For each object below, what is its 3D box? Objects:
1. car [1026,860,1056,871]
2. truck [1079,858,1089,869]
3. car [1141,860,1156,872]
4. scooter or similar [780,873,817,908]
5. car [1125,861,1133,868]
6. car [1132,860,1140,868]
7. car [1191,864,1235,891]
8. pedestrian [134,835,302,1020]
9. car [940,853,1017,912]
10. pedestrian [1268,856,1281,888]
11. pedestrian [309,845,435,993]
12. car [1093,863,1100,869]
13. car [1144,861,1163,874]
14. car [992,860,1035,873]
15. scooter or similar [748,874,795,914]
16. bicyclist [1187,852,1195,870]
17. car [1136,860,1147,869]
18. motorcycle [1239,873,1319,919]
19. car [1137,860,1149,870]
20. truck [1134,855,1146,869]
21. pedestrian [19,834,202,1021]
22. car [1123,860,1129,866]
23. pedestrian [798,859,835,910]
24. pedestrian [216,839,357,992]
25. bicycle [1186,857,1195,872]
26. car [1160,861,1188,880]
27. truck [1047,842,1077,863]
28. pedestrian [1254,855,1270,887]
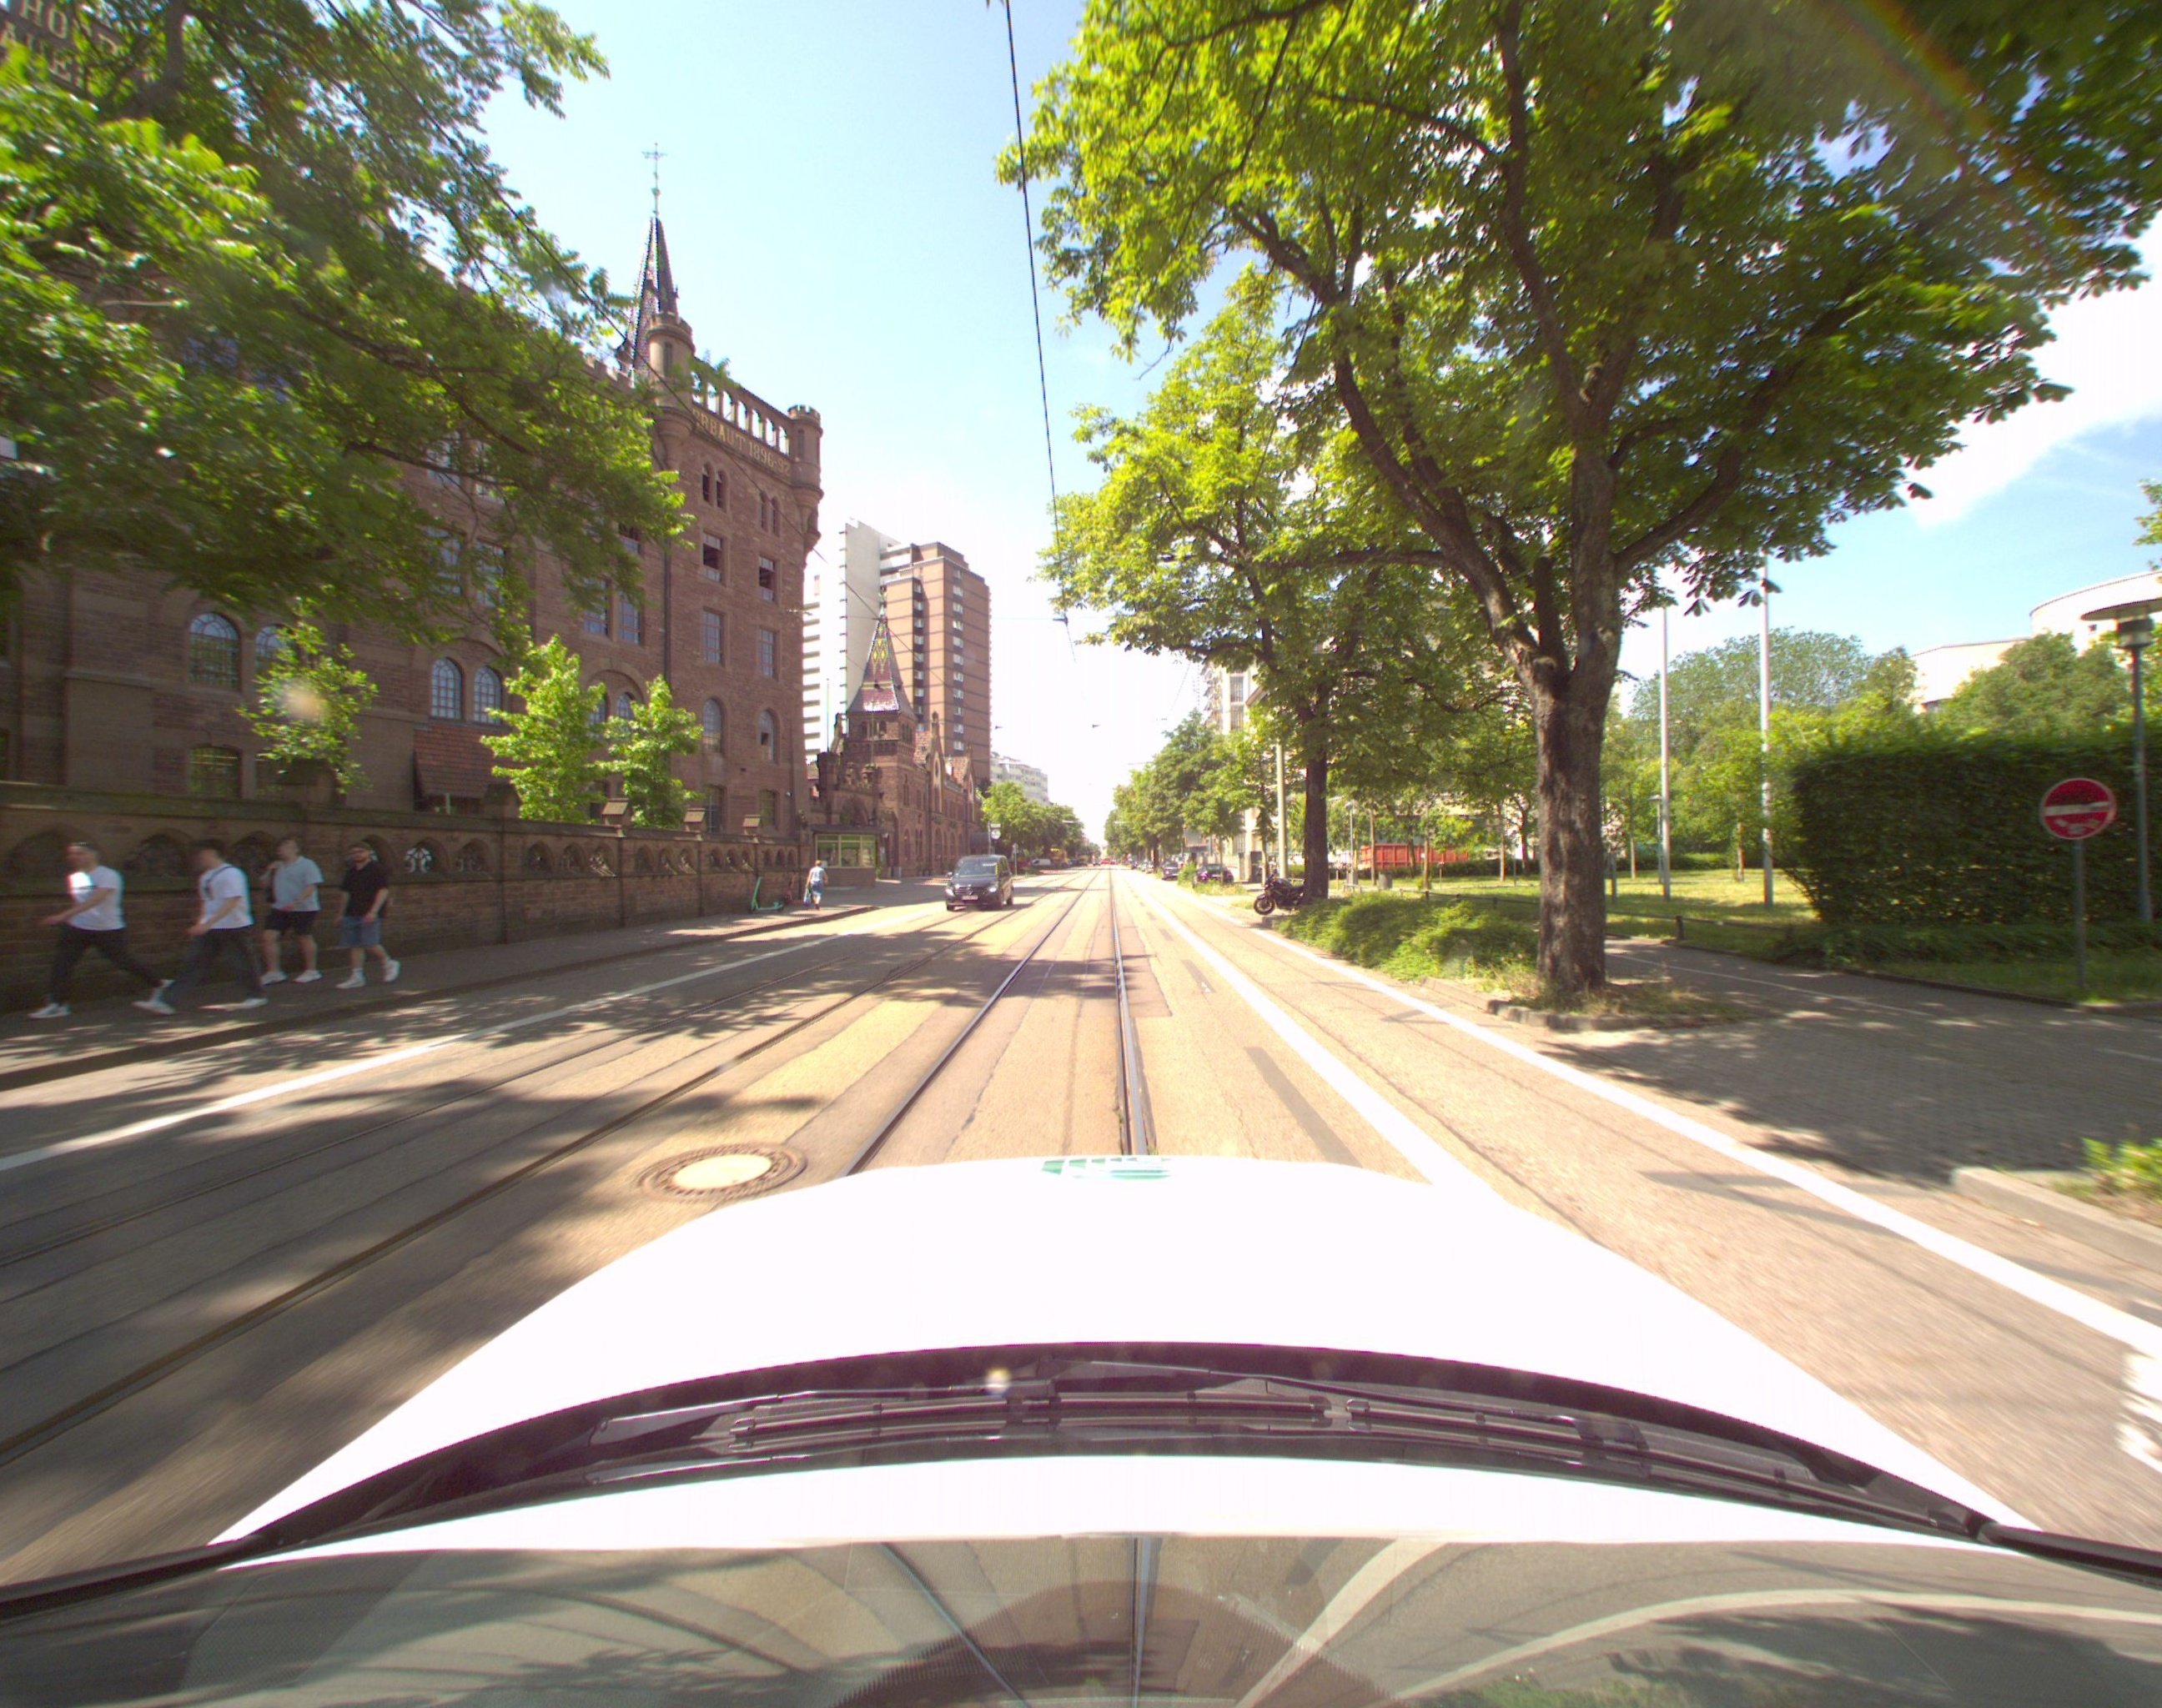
[{"bbox_3d":[-6.467,1.901,131.876,4.562,1.791,1.882,1,-1,-31],"label":"car"},{"bbox_3d":[0.816,2.462,215.825,2.350,2.852,7.385,-2,-1,4],"label":"truck"},{"bbox_3d":[8.838,1.513,106.494,1.665,1.517,4.202,-1,0,1],"label":"car"},{"bbox_3d":[-9.465,1.200,27.337,0.325,1.127,1.230,0,-1,30],"label":"scooter or similar"},{"bbox_3d":[11.919,2.593,201.364,1.634,1.485,3.871,-2,-1,-1],"label":"car"},{"bbox_3d":[11.260,2.115,167.446,1.637,1.534,3.789,-1,0,4],"label":"car"},{"bbox_3d":[6.645,1.149,41.280,1.744,1.270,3.835,0,0,2],"label":"car"},{"bbox_3d":[-8.936,0.725,8.475,0.674,1.790,0.920,2,-1,2],"label":"pedestrian"},{"bbox_3d":[-3.357,0.905,27.465,1.897,1.788,4.257,-1,0,2],"label":"car"},{"bbox_3d":[9.747,0.883,41.031,0.511,1.573,0.545,-2,-1,2],"label":"pedestrian"},{"bbox_3d":[-8.831,0.778,10.189,0.674,1.748,0.920,2,-1,2],"label":"pedestrian"},{"bbox_3d":[4.290,3.172,219.602,1.824,1.681,4.186,-1,-1,2],"label":"car"},{"bbox_3d":[8.290,1.524,93.757,1.666,1.499,4.363,-1,0,-1],"label":"car"},{"bbox_3d":[-8.236,1.525,99.438,4.790,1.566,1.984,0,-1,-27],"label":"car"},{"bbox_3d":[-9.061,1.166,23.870,1.232,1.127,0.344,3,-2,-45],"label":"scooter or similar"},{"bbox_3d":[10.025,0.620,74.392,0.578,1.648,0.599,-3,-1,2],"label":"bicyclist"},{"bbox_3d":[10.226,1.813,137.205,1.816,1.471,4.405,-1,0,5],"label":"car"},{"bbox_3d":[5.348,1.126,22.104,2.035,1.213,0.617,-2,-2,41],"label":"motorcycle"},{"bbox_3d":[9.611,1.720,126.341,1.816,1.471,4.490,-1,0,3],"label":"car"},{"bbox_3d":[10.675,1.459,147.935,2.007,2.489,5.957,-1,0,2],"label":"truck"},{"bbox_3d":[-9.881,0.712,8.333,0.674,1.776,0.920,2,-1,2],"label":"pedestrian"},{"bbox_3d":[13.343,2.730,242.484,1.586,1.617,3.909,-2,-1,2],"label":"car"},{"bbox_3d":[-8.496,0.965,26.228,0.796,1.589,0.920,2,-1,2],"label":"pedestrian"},{"bbox_3d":[-9.761,0.721,10.046,0.749,1.776,0.920,2,-1,2],"label":"pedestrian"},{"bbox_3d":[10.023,0.955,74.415,0.552,1.265,1.775,-3,-1,2],"label":"bicycle"},{"bbox_3d":[7.157,1.271,63.125,1.665,1.408,4.750,-1,0,1],"label":"car"},{"bbox_3d":[-3.746,-0.260,161.329,2.694,3.842,11.009,0,-1,16],"label":"truck"},{"bbox_3d":[9.132,0.873,41.073,0.616,1.573,0.611,-2,-1,2],"label":"pedestrian"}]
